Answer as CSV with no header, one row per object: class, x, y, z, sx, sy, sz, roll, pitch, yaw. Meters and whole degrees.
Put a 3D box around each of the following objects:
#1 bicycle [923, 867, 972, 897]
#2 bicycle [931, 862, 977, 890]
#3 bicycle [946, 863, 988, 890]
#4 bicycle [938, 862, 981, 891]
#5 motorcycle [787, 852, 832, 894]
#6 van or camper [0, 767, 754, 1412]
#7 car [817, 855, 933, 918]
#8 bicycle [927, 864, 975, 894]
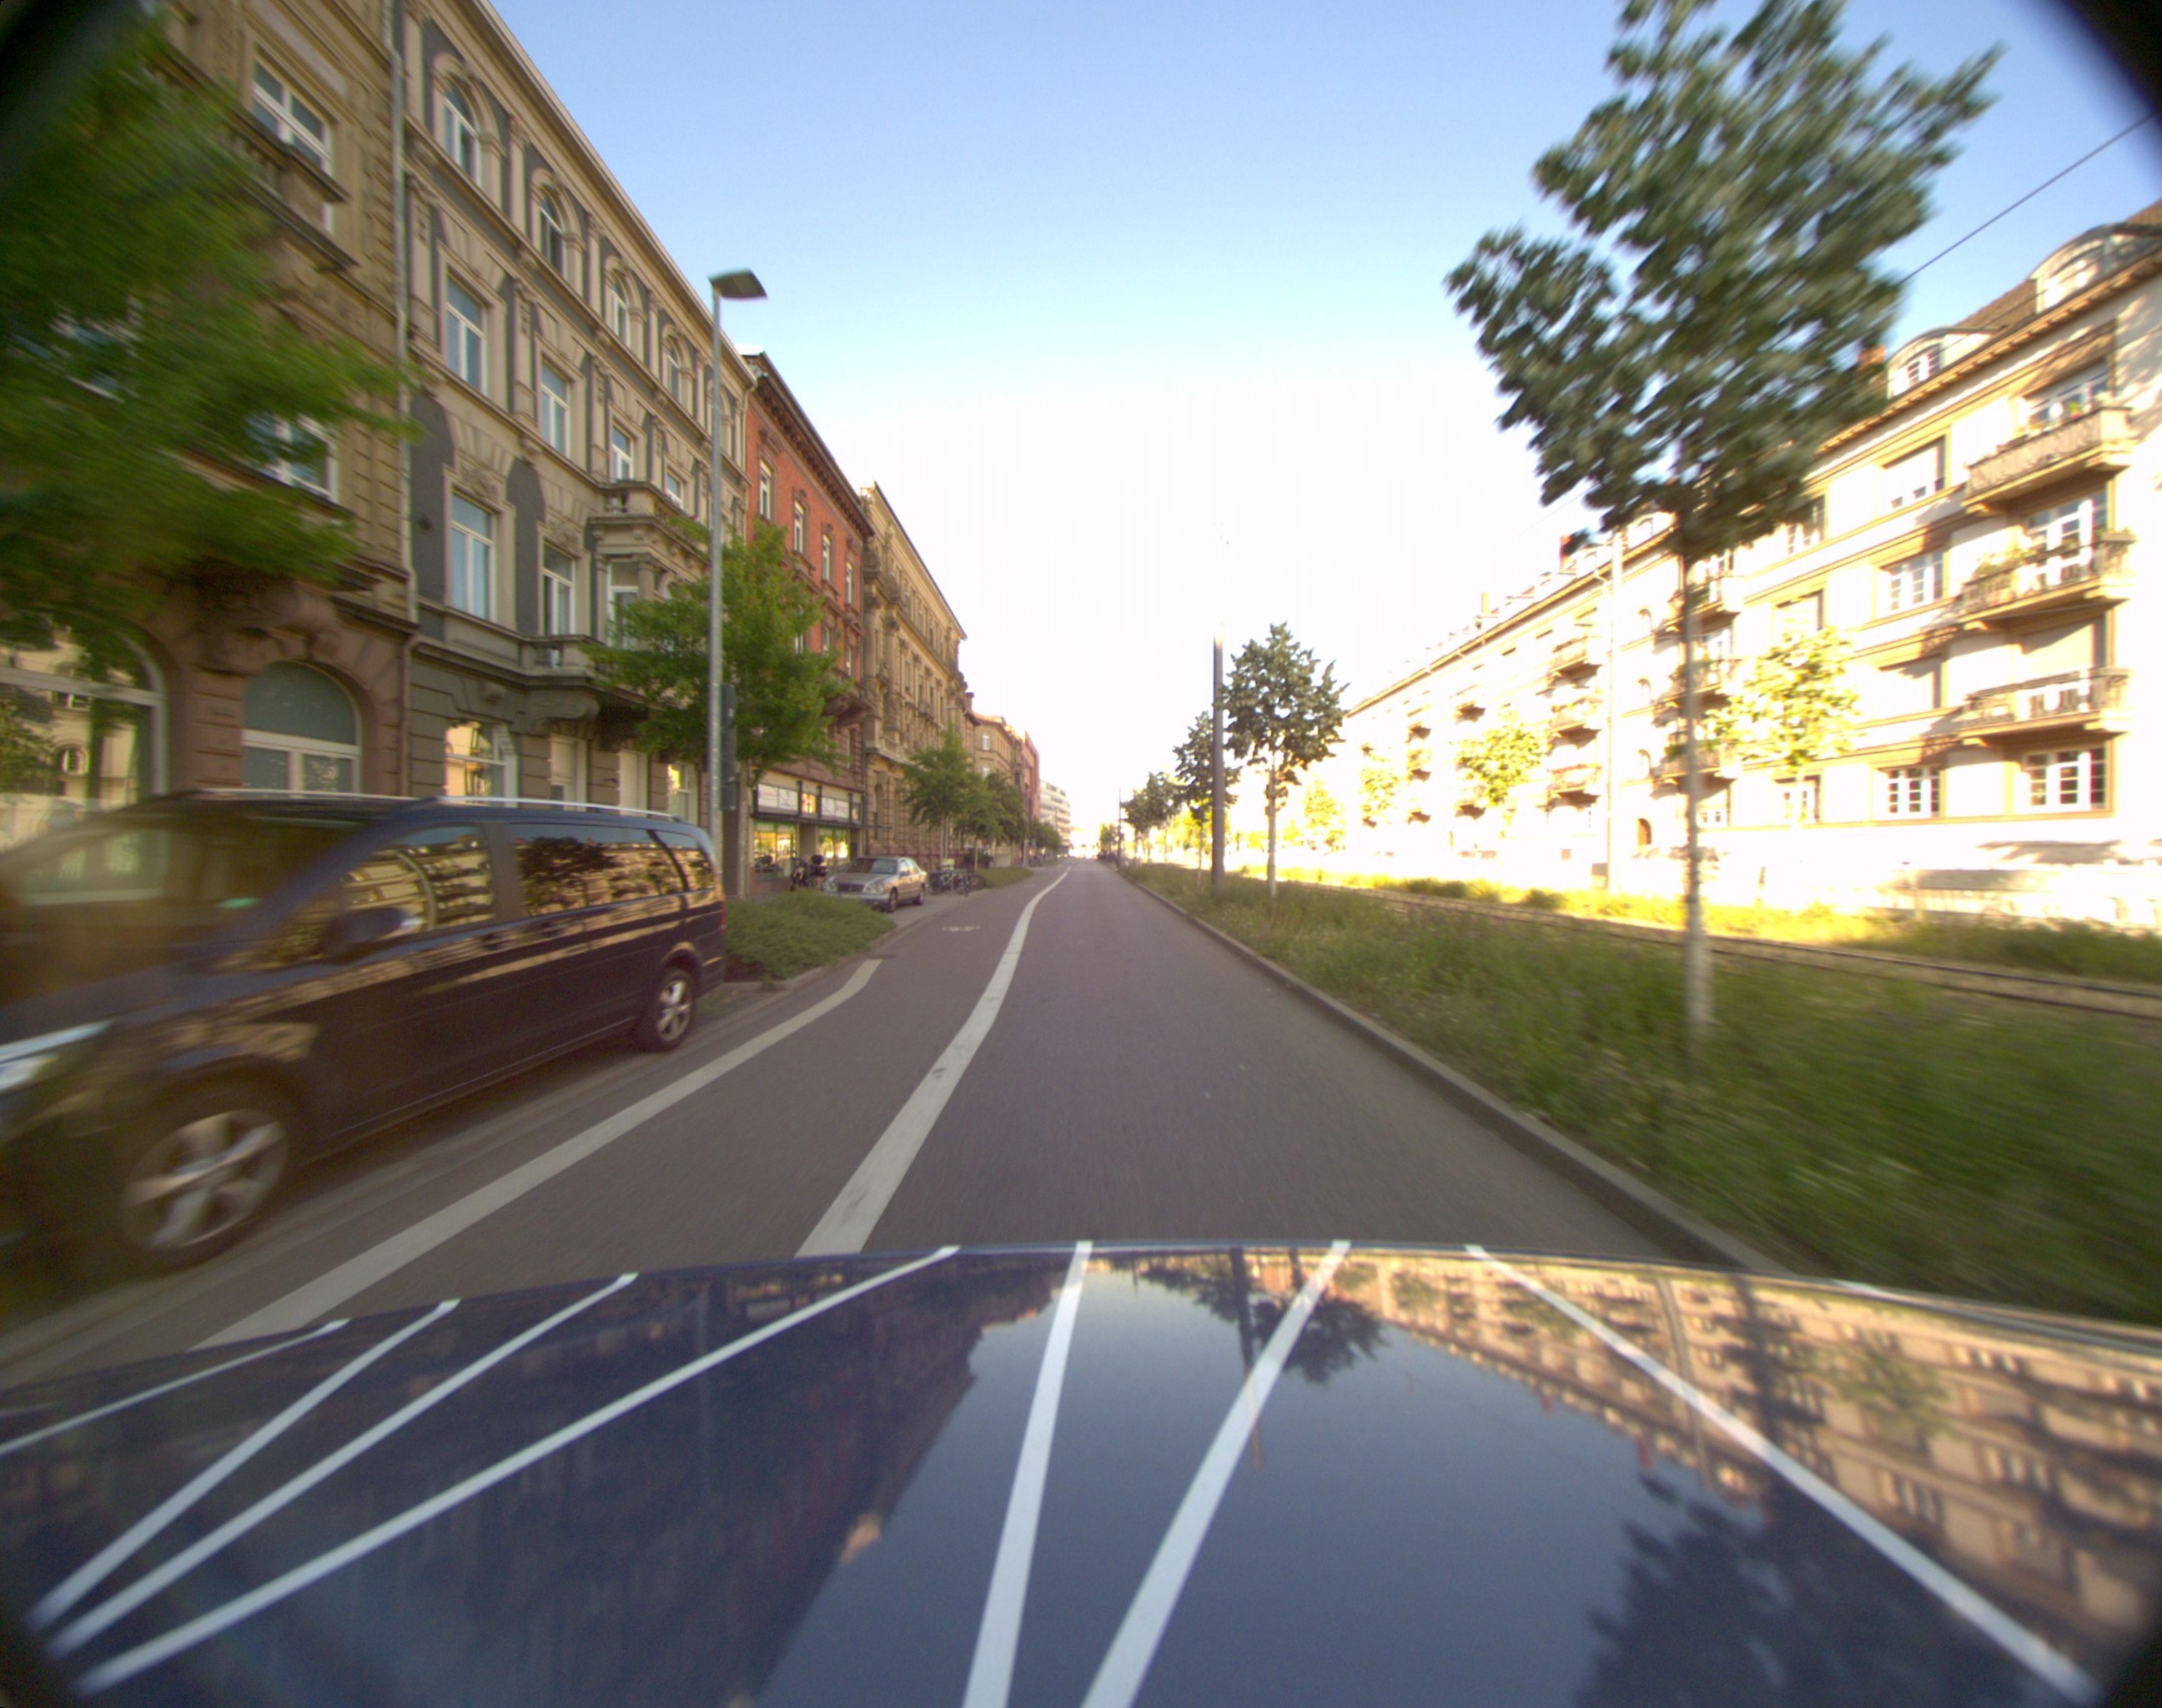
bicycle,-4.728,0.978,26.954,1.613,1.046,0.478,0,1,3
bicycle,-5.057,0.880,30.289,1.692,1.112,0.530,0,1,3
bicycle,-4.720,0.922,31.483,1.693,1.112,0.530,0,1,-4
bicycle,-4.738,0.883,29.643,1.584,1.112,0.577,0,1,3
motorcycle,-9.560,0.636,26.848,0.788,1.413,2.053,0,0,1
van or camper,-4.178,0.682,4.464,1.965,1.960,5.487,2,0,2
car,-5.515,0.794,21.037,1.694,1.476,4.744,2,0,3
bicycle,-4.831,0.917,28.335,1.692,1.112,0.530,0,1,3
